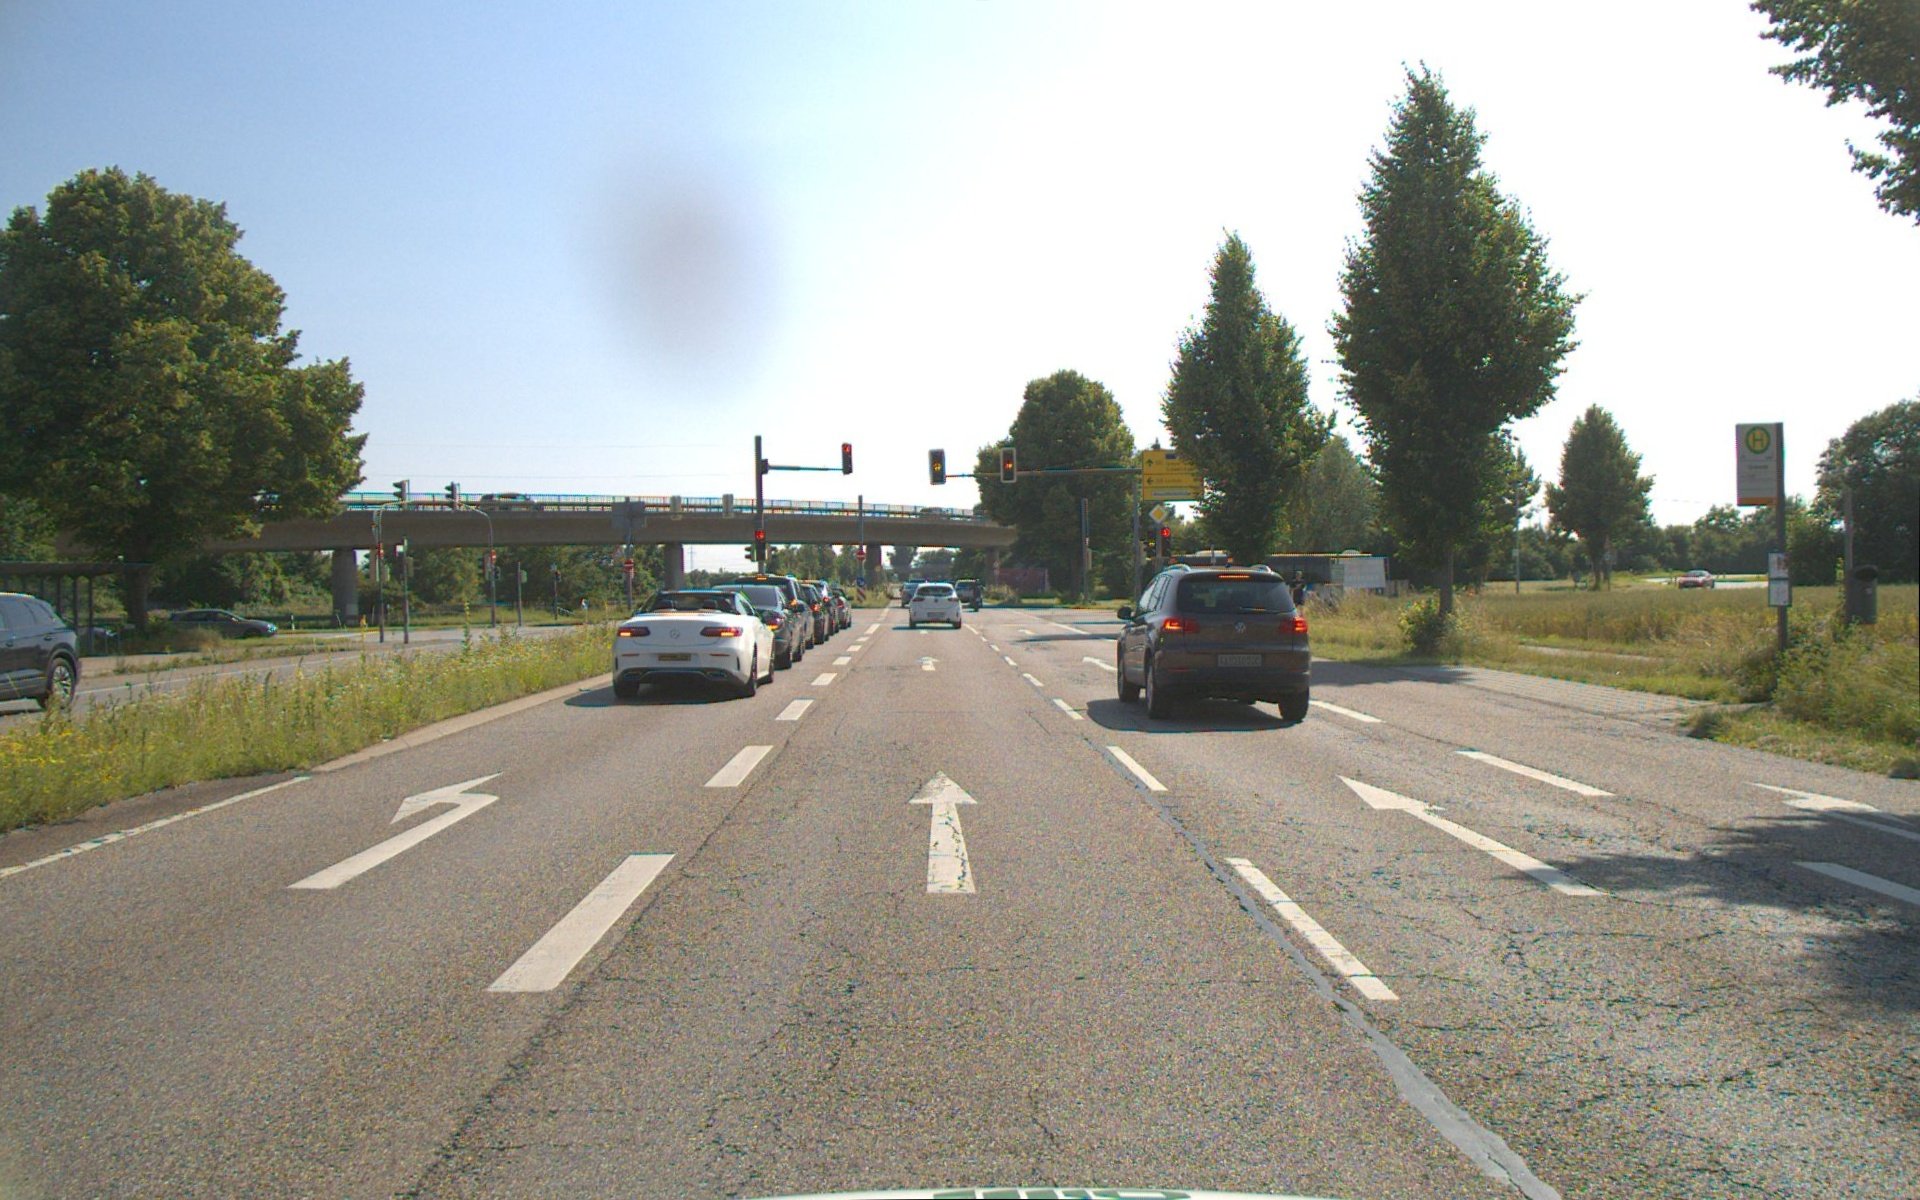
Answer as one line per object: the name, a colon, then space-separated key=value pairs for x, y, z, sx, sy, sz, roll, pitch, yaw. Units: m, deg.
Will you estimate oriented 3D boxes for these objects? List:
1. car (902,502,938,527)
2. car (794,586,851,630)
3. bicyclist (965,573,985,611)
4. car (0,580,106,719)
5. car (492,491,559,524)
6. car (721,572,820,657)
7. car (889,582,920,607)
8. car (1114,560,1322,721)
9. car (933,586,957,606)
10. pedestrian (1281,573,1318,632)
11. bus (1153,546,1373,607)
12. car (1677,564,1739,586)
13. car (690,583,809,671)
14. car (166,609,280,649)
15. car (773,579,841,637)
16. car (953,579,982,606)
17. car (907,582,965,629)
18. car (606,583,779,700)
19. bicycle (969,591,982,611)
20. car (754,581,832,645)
car: x=-3.637 y=-7.839 z=151.789 sx=1.953 sy=1.983 sz=3.815 roll=1 pitch=0 yaw=22
car: x=-4.520 y=0.249 z=54.867 sx=1.640 sy=1.358 sz=4.097 roll=-1 pitch=1 yaw=-1
bicyclist: x=0.770 y=-0.420 z=86.073 sx=0.986 sy=1.919 sz=1.327 roll=-1 pitch=0 yaw=-1
car: x=-13.953 y=0.716 z=22.659 sx=1.953 sy=1.872 sz=4.952 roll=-3 pitch=1 yaw=-2
car: x=-28.698 y=-6.081 z=109.437 sx=1.959 sy=1.870 sz=3.987 roll=1 pitch=-1 yaw=34
car: x=-4.052 y=0.261 z=35.932 sx=1.706 sy=1.701 sz=4.356 roll=-1 pitch=1 yaw=-1
car: x=-3.431 y=-0.357 z=102.863 sx=1.835 sy=1.518 sz=4.000 roll=-1 pitch=1 yaw=-1
car: x=2.920 y=0.419 z=19.539 sx=1.720 sy=1.684 sz=4.145 roll=1 pitch=0 yaw=-1
car: x=-1.299 y=-0.311 z=144.038 sx=1.953 sy=1.660 sz=3.998 roll=1 pitch=0 yaw=-2
pedestrian: x=11.014 y=0.080 z=53.665 sx=0.884 sy=1.871 sz=1.194 roll=-1 pitch=1 yaw=-4
bus: x=16.563 y=-1.283 z=90.331 sx=11.749 sy=2.927 sz=2.928 roll=-2 pitch=0 yaw=-17
car: x=50.768 y=-1.670 z=112.268 sx=3.934 sy=1.422 sz=1.669 roll=-1 pitch=1 yaw=-24
car: x=-3.718 y=0.432 z=29.843 sx=1.680 sy=1.434 sz=4.354 roll=1 pitch=1 yaw=-1
car: x=-29.783 y=1.144 z=66.959 sx=4.056 sy=1.449 sz=1.859 roll=-2 pitch=0 yaw=-22
car: x=-4.409 y=0.199 z=48.137 sx=1.694 sy=1.574 sz=4.097 roll=-1 pitch=1 yaw=-1
car: x=0.470 y=-0.496 z=106.865 sx=1.835 sy=1.668 sz=4.000 roll=1 pitch=1 yaw=-1
car: x=-0.781 y=0.139 z=54.516 sx=1.813 sy=1.486 sz=4.000 roll=0 pitch=1 yaw=-1
car: x=-3.569 y=0.498 z=22.862 sx=1.767 sy=1.450 sz=4.640 roll=0 pitch=0 yaw=-2
bicycle: x=0.812 y=0.041 z=85.741 sx=0.588 sy=1.000 sz=2.360 roll=-1 pitch=1 yaw=-1
car: x=-4.150 y=0.285 z=41.656 sx=1.632 sy=1.500 sz=4.097 roll=-1 pitch=1 yaw=-1
